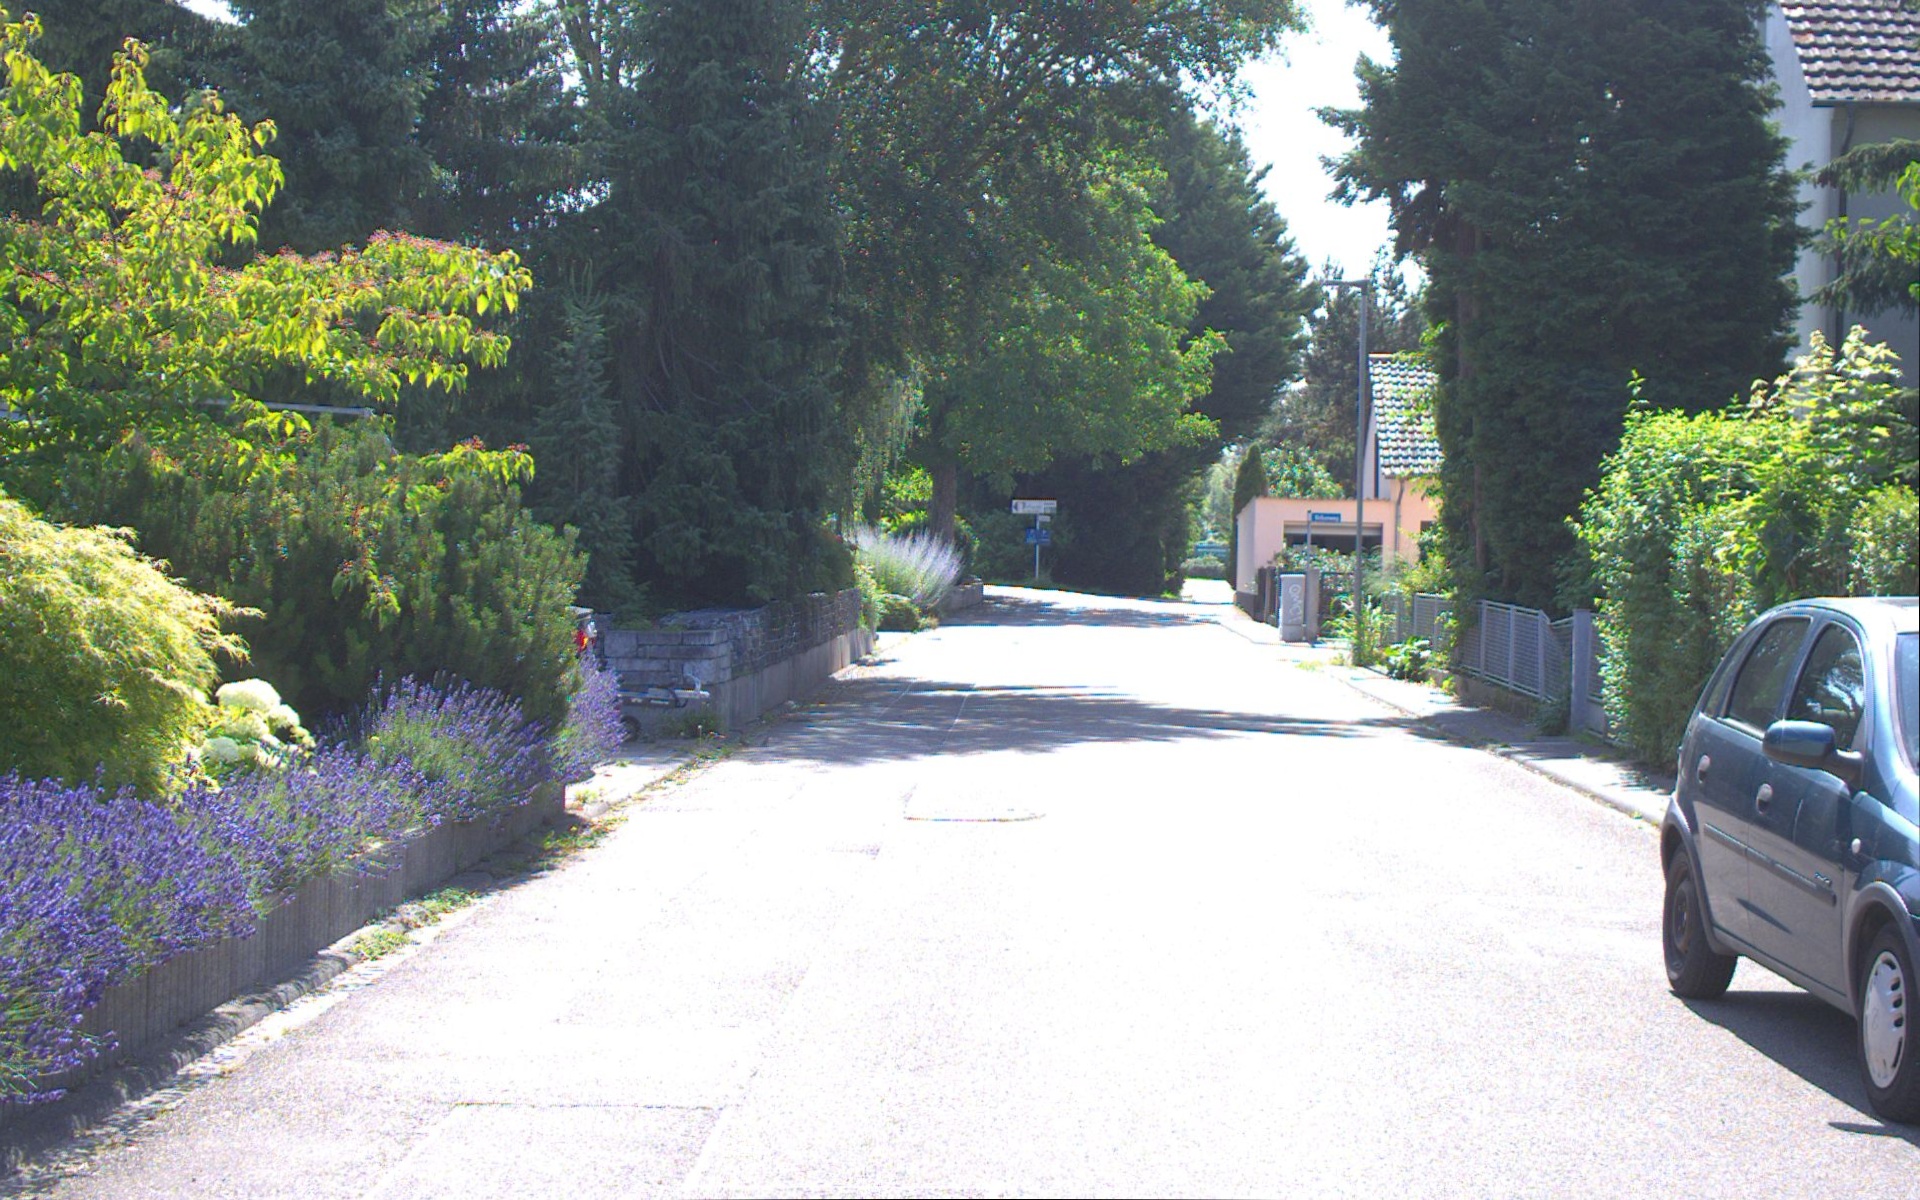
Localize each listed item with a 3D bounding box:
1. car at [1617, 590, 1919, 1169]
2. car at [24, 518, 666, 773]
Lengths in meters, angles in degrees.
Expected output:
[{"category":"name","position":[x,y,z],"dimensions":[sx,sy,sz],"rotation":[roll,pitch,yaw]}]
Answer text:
[{"category":"car","position":[3.268,0.730,10.577],"dimensions":[1.702,1.395,4.000],"rotation":[3,1,1]},{"category":"car","position":[-3.830,0.259,21.861],"dimensions":[3.735,1.441,1.756],"rotation":[2,2,0]}]
